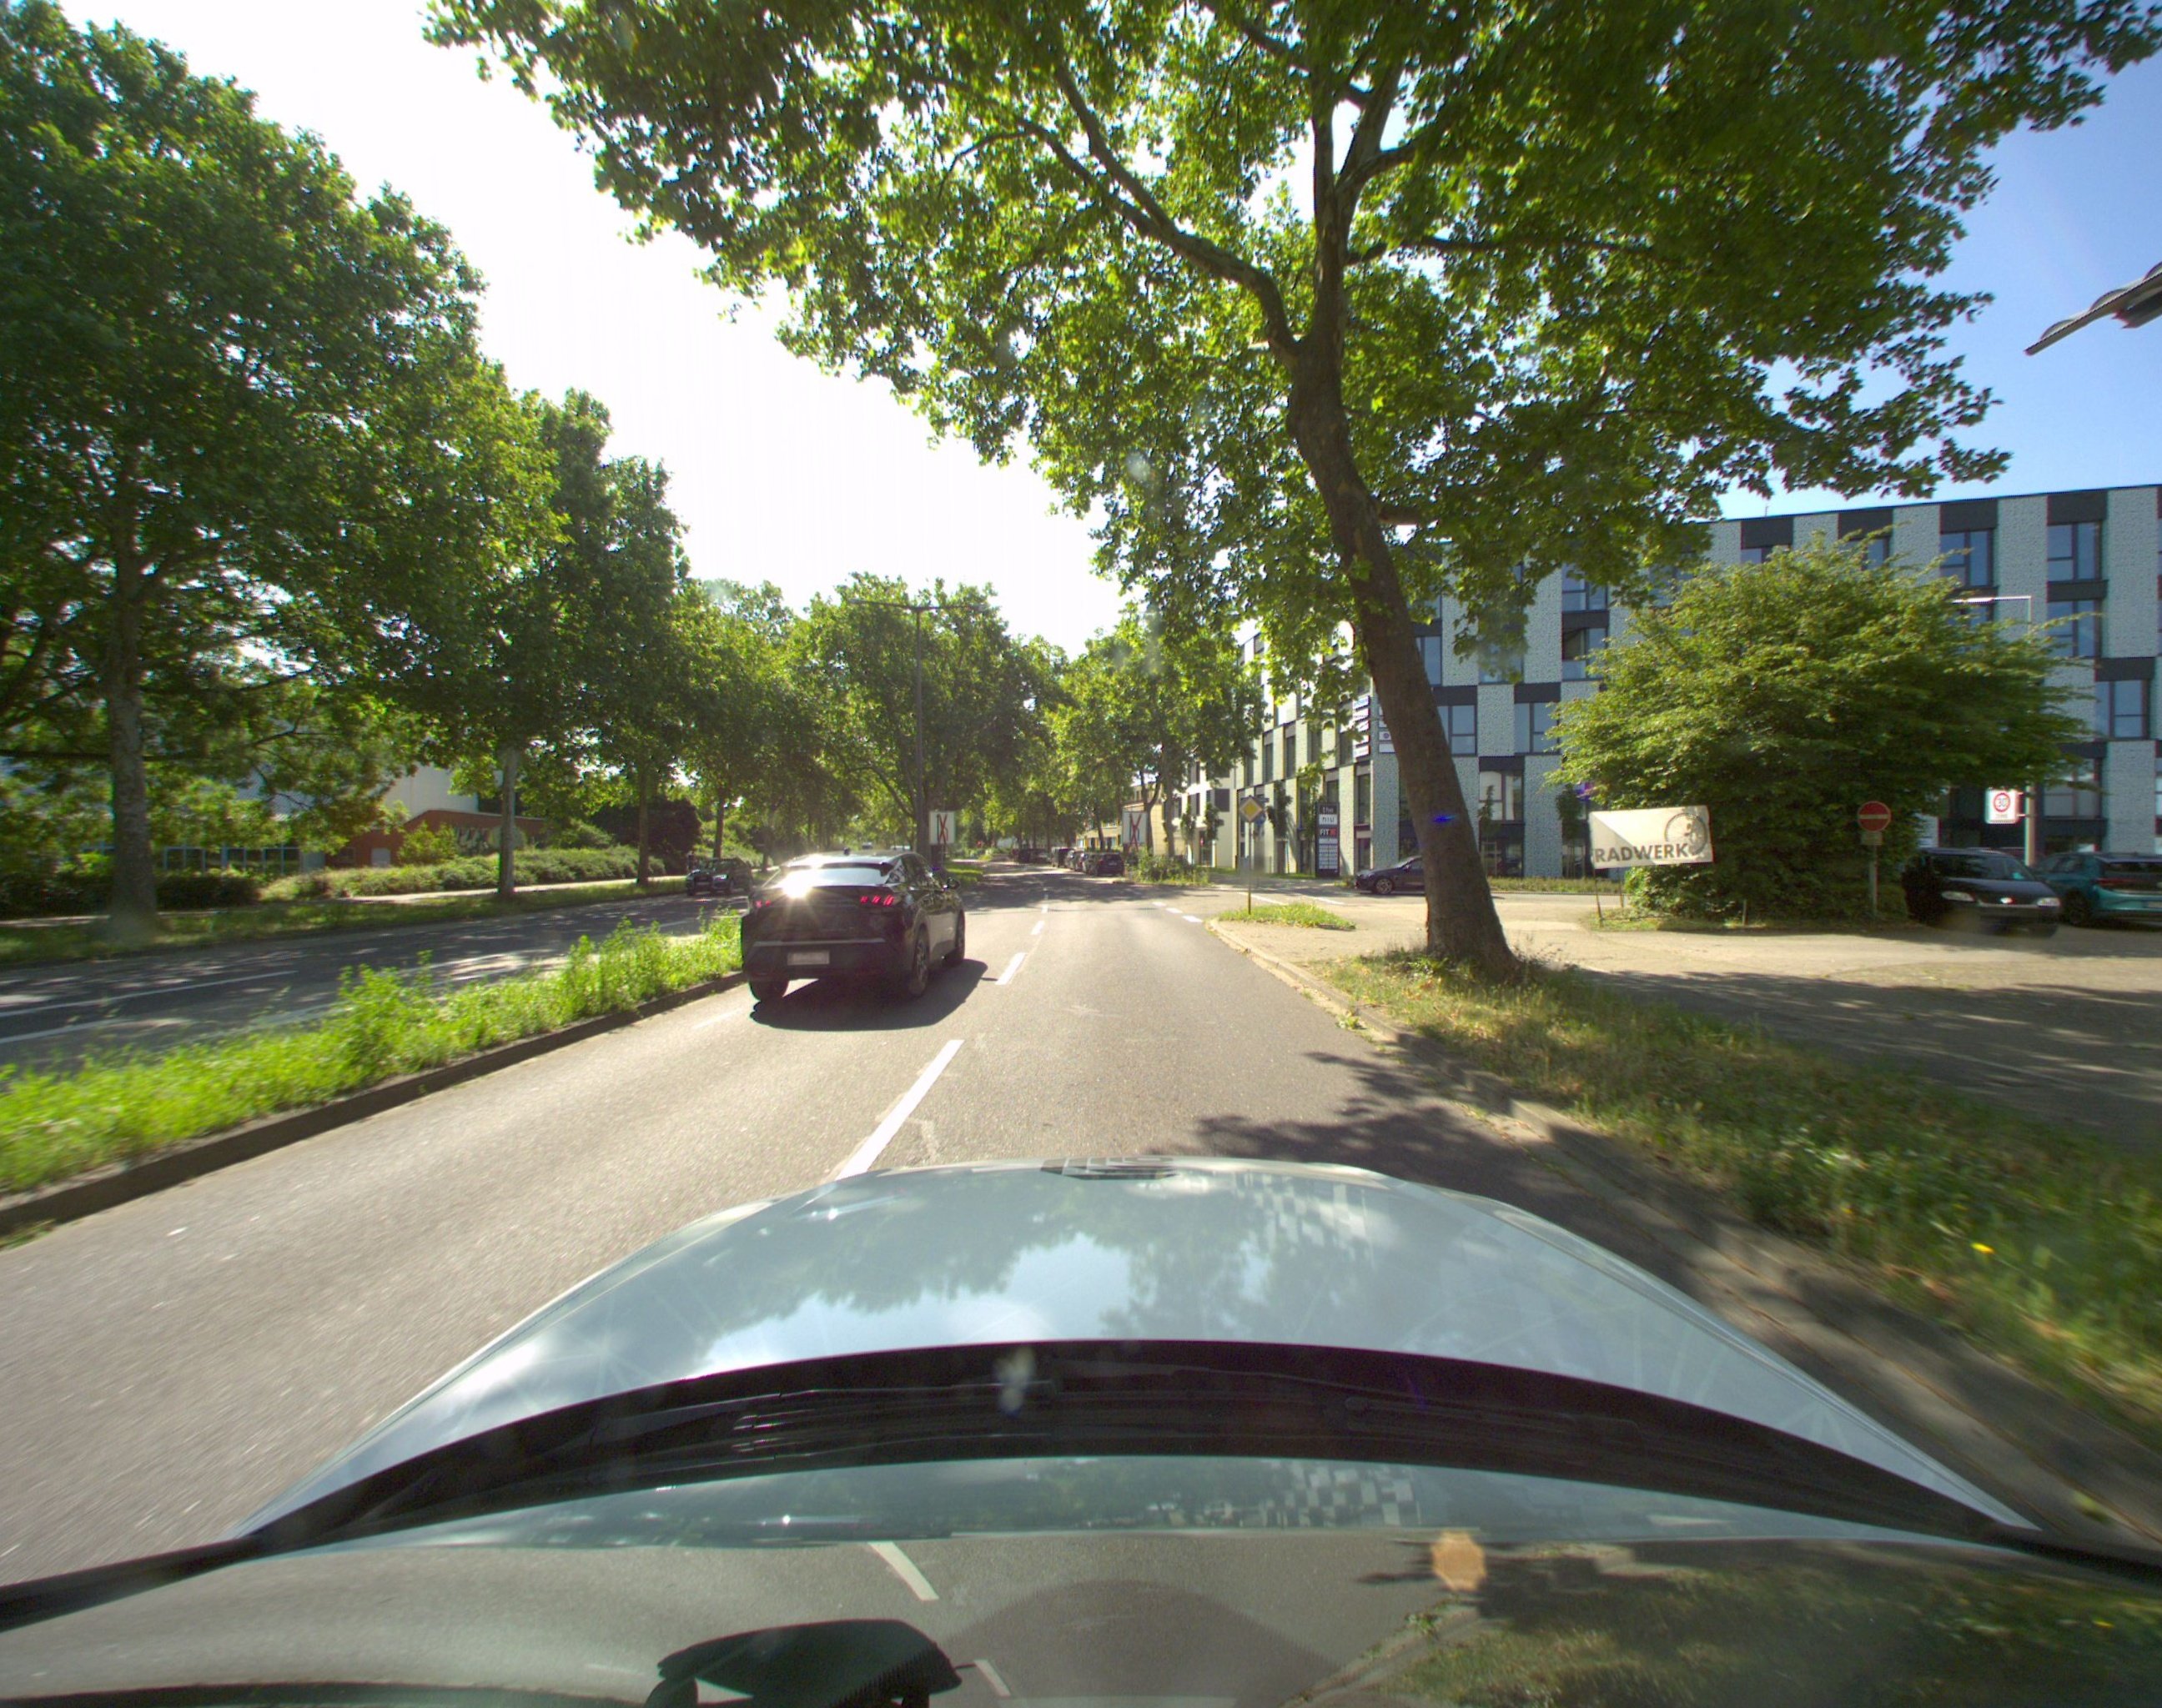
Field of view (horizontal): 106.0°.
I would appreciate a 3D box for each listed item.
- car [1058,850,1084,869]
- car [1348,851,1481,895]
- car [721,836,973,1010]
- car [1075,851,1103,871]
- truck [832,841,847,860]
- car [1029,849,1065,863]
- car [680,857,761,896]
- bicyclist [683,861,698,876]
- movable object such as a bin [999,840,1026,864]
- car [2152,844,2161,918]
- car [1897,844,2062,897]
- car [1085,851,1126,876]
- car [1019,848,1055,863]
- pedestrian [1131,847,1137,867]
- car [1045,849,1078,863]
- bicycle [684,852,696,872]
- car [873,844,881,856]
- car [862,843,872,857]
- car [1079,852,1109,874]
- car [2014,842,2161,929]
[{"bbox_3d":[-0.948,0.480,74.761,1.707,1.669,4.518,0,0,-10],"label":"car"},{"bbox_3d":[12.200,0.661,30.058,4.220,1.517,2.006,1,0,11],"label":"car"},{"bbox_3d":[-2.619,0.697,10.313,1.866,1.696,4.435,-1,0,0],"label":"car"},{"bbox_3d":[0.588,0.512,62.596,1.704,1.455,4.647,0,0,-5],"label":"car"},{"bbox_3d":[-44.884,-0.712,151.055,2.457,3.449,7.056,2,1,-18],"label":"truck"},{"bbox_3d":[-4.149,0.231,99.648,4.121,1.633,1.698,-1,0,-26],"label":"car"},{"bbox_3d":[-15.703,0.947,35.744,1.790,1.556,4.390,-1,0,-3],"label":"car"},{"bbox_3d":[-26.782,0.968,55.867,0.427,1.013,1.422,0,0,-5],"label":"bicyclist"},{"bbox_3d":[-9.564,-0.282,113.124,2.345,3.241,3.394,0,0,-35],"label":"movable object such as a bin"},{"bbox_3d":[24.405,0.612,16.861,1.659,1.662,3.772,0,0,36],"label":"car"},{"bbox_3d":[33.858,0.555,30.897,1.980,1.852,4.497,1,1,13],"label":"car"},{"bbox_3d":[1.524,0.580,51.757,1.706,1.487,4.704,-1,0,-9],"label":"car"},{"bbox_3d":[-5.489,0.171,101.276,4.123,1.880,1.769,-1,0,-28],"label":"car"},{"bbox_3d":[4.770,0.251,73.353,0.475,1.808,0.636,0,0,-6],"label":"pedestrian"},{"bbox_3d":[-2.306,0.235,95.373,3.556,1.640,1.652,0,0,-13],"label":"car"},{"bbox_3d":[-26.796,0.552,55.847,0.428,1.385,0.953,0,0,-5],"label":"bicycle"},{"bbox_3d":[-58.179,-1.085,232.171,2.061,3.434,6.735,0,0,-15],"label":"car"},{"bbox_3d":[-58.263,-1.129,221.627,2.455,3.449,7.060,2,1,-16],"label":"car"},{"bbox_3d":[0.885,0.608,57.565,1.704,1.487,4.093,0,0,-5],"label":"car"},{"bbox_3d":[21.864,0.621,17.389,1.659,1.662,3.772,-3,-2,36],"label":"car"}]
